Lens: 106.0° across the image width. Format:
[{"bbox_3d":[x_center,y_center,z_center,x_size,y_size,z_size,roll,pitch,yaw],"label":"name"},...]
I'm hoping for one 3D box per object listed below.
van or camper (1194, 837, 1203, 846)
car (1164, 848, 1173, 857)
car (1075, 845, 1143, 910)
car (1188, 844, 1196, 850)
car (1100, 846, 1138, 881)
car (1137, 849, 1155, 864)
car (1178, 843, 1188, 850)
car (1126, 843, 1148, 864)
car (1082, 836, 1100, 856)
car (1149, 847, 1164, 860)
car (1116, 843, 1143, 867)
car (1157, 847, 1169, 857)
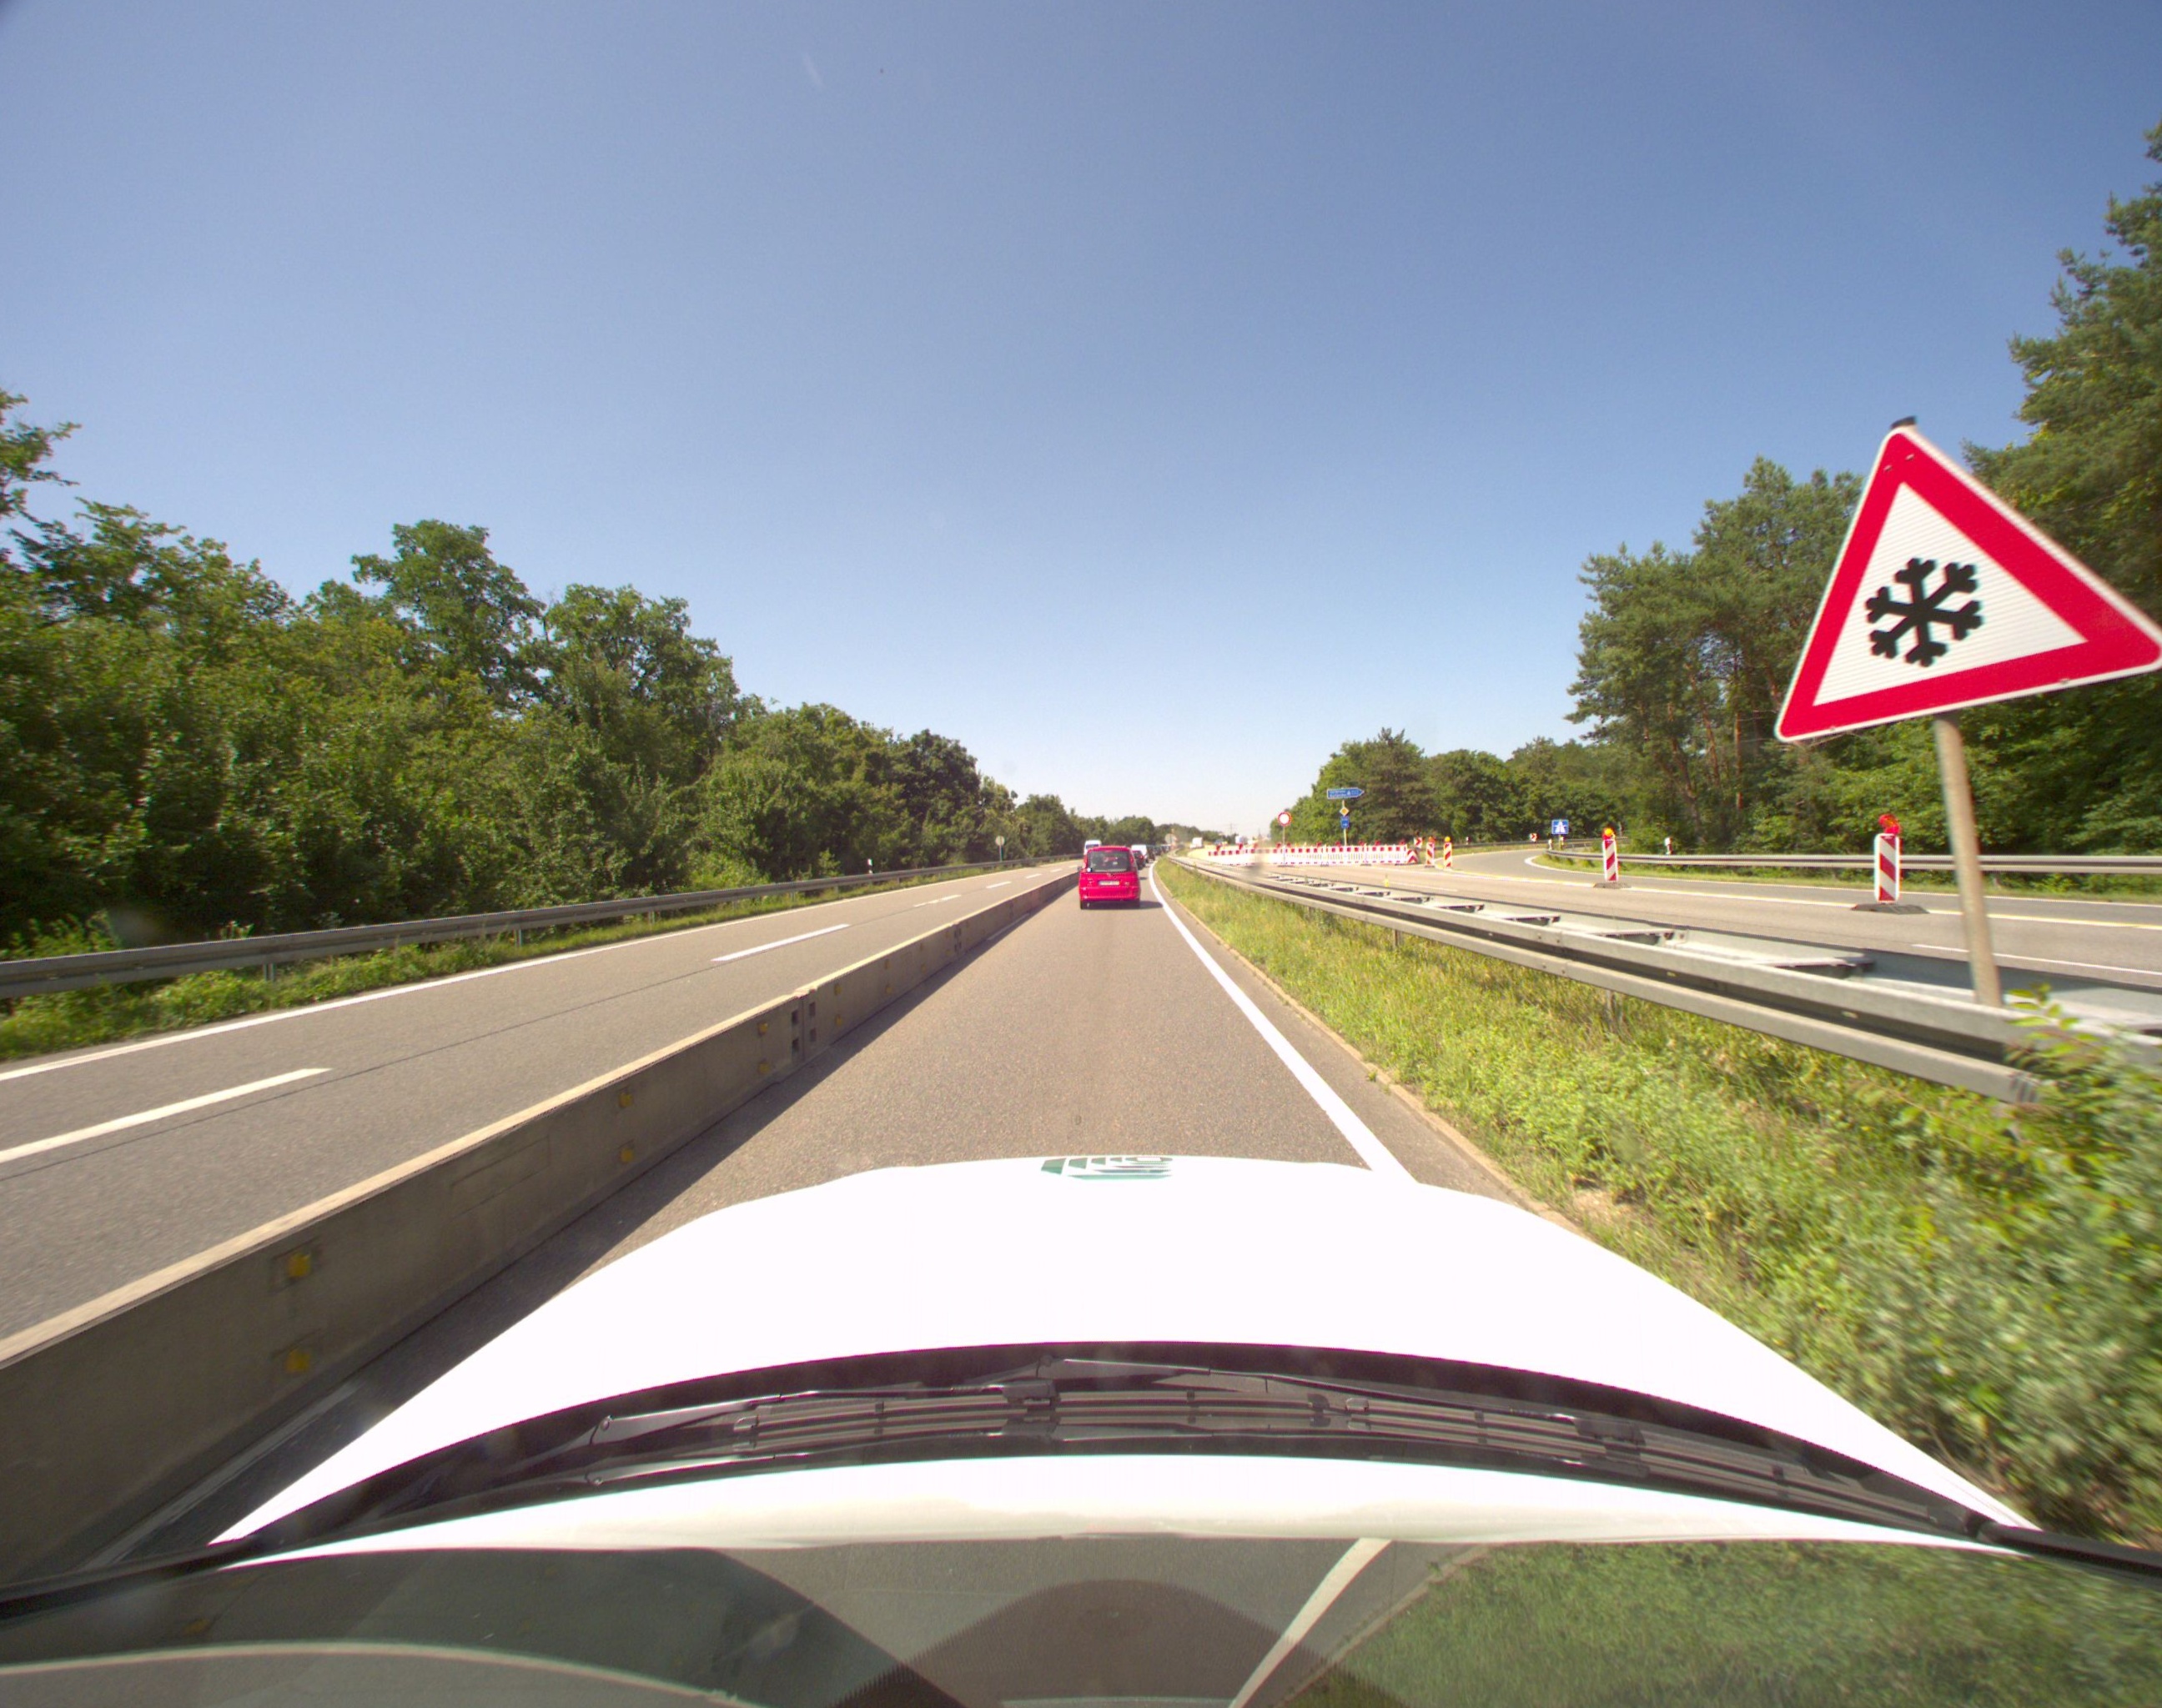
[{"bbox_3d":[34.062,-3.576,235.814,2.316,2.706,4.602,-2,0,7],"label":"van or camper"},{"bbox_3d":[16.433,-0.283,153.412,1.493,1.736,3.178,-2,0,9],"label":"car"},{"bbox_3d":[0.879,0.605,23.101,1.744,1.673,4.005,-1,0,4],"label":"car"},{"bbox_3d":[30.642,-1.911,224.415,1.982,1.486,4.009,-2,0,8],"label":"car"},{"bbox_3d":[2.008,0.463,42.899,1.823,1.722,4.003,-2,0,3],"label":"car"},{"bbox_3d":[7.585,0.278,95.550,1.984,1.750,4.005,-2,0,5],"label":"car"},{"bbox_3d":[23.920,-1.714,191.124,1.982,1.552,4.010,-2,0,9],"label":"car"},{"bbox_3d":[5.680,-0.096,82.668,1.986,2.003,4.002,-2,0,2],"label":"car"},{"bbox_3d":[1.345,-1.023,103.351,2.053,2.485,5.564,-1,0,3],"label":"car"},{"bbox_3d":[11.183,-0.110,121.168,1.986,1.783,4.001,-2,0,2],"label":"car"},{"bbox_3d":[4.070,0.078,67.349,1.984,1.838,4.006,-2,0,6],"label":"car"},{"bbox_3d":[14.067,-0.331,139.457,1.984,1.585,4.006,-2,0,6],"label":"car"}]
